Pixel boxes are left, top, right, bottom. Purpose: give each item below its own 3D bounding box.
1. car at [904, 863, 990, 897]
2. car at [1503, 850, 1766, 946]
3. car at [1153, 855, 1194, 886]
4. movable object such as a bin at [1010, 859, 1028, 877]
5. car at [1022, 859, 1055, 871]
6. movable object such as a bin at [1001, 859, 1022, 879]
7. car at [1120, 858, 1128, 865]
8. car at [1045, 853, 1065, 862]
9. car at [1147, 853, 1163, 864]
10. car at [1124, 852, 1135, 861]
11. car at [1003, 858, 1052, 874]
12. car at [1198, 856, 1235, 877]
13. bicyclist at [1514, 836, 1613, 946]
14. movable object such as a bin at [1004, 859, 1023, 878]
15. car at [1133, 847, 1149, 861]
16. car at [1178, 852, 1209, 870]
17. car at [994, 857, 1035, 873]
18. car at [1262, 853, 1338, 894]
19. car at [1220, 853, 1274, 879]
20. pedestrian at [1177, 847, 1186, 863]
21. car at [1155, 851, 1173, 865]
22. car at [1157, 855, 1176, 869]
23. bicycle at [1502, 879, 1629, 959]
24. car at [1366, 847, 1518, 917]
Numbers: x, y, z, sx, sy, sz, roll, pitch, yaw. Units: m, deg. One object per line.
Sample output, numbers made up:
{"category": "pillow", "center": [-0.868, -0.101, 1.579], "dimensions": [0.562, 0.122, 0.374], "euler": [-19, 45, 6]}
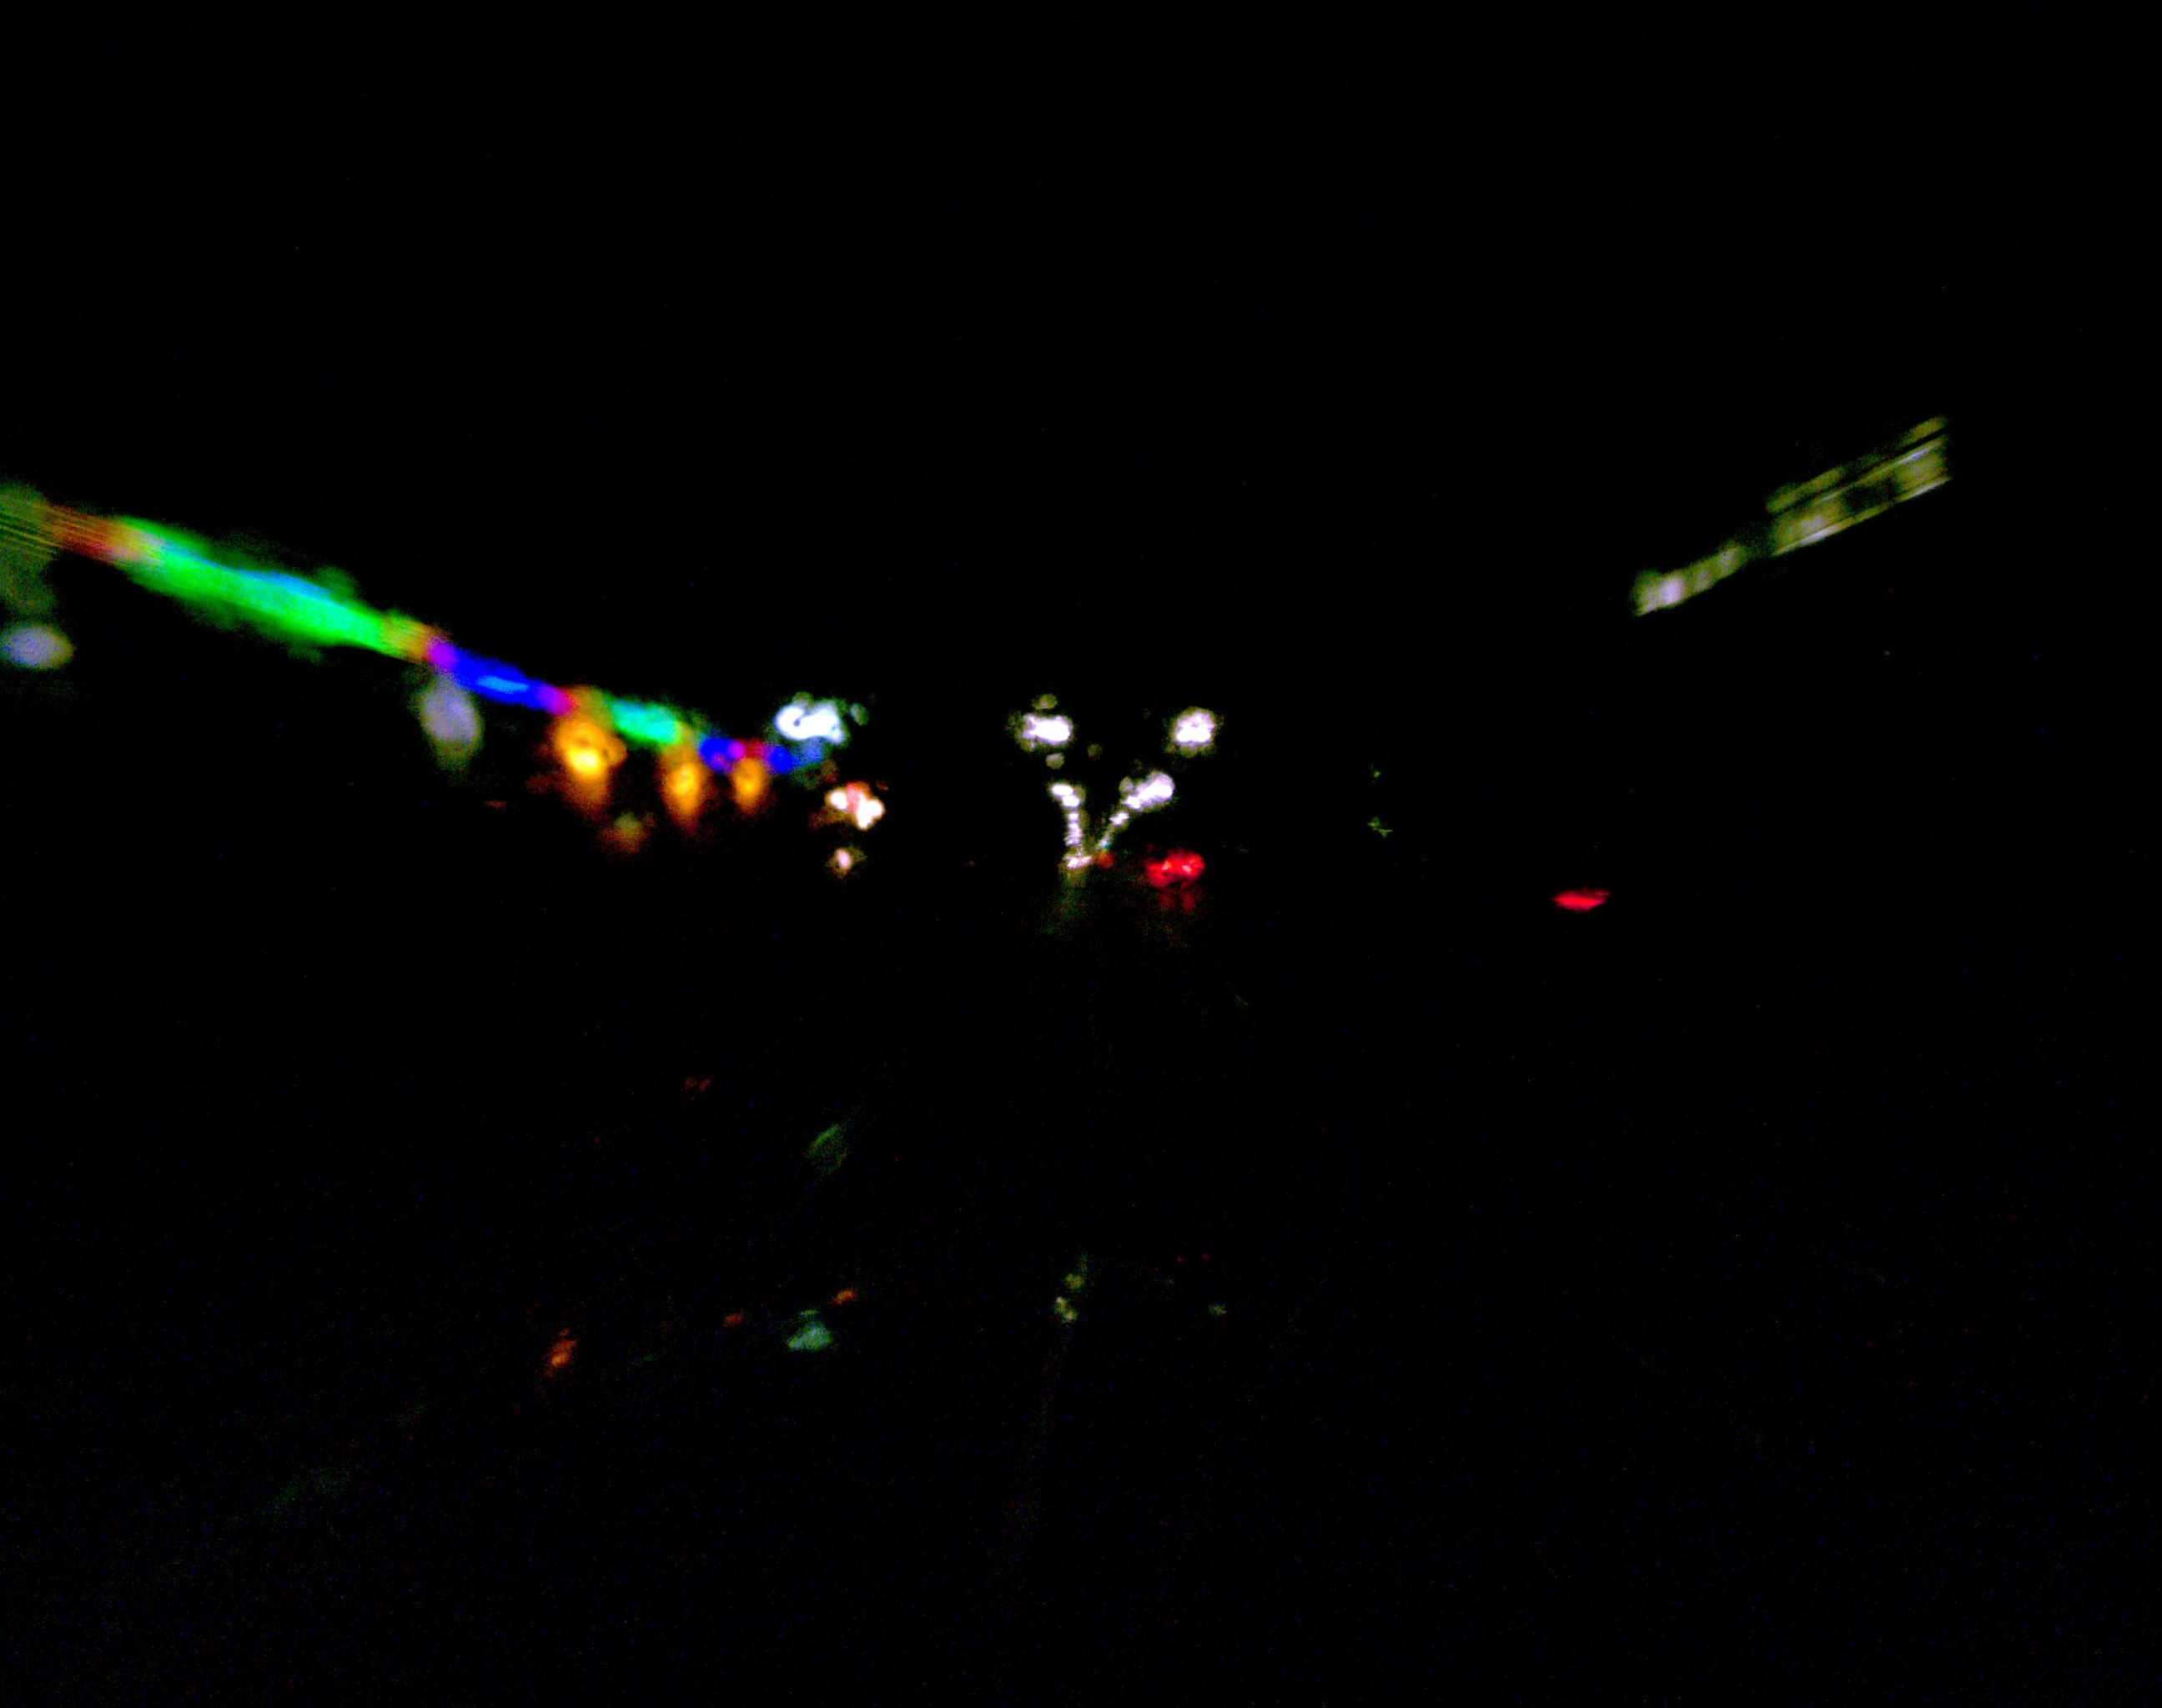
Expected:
{"category": "car", "center": [-7.128, 1.345, 40.458], "dimensions": [4.110, 1.528, 1.956], "euler": [-3, 1, -25]}
{"category": "car", "center": [9.540, 0.682, 13.543], "dimensions": [1.695, 1.413, 3.913], "euler": [-2, 0, -2]}
{"category": "car", "center": [5.015, 0.864, 41.802], "dimensions": [1.780, 1.509, 4.051], "euler": [-3, 0, 1]}
{"category": "movable object such as a bin", "center": [-4.812, 1.093, 59.099], "dimensions": [1.326, 1.400, 1.159], "euler": [-1, 1, -5]}
{"category": "car", "center": [-5.867, 1.513, 105.147], "dimensions": [4.349, 1.459, 1.677], "euler": [-2, 0, -38]}
{"category": "movable object such as a bin", "center": [-5.195, 1.114, 56.780], "dimensions": [1.371, 1.414, 1.073], "euler": [-1, 1, 6]}
{"category": "car", "center": [10.275, 1.727, 182.672], "dimensions": [1.693, 1.565, 3.918], "euler": [-3, 1, 1]}
{"category": "car", "center": [-5.599, 0.775, 163.237], "dimensions": [3.964, 1.760, 1.666], "euler": [-3, 1, -37]}
{"category": "car", "center": [10.382, 0.620, 106.759], "dimensions": [1.723, 1.447, 3.950], "euler": [-3, 1, 0]}
{"category": "car", "center": [10.238, 0.519, 161.255], "dimensions": [1.846, 1.572, 3.663], "euler": [-5, 1, 0]}
{"category": "car", "center": [-5.502, 1.188, 77.822], "dimensions": [4.604, 1.467, 1.837], "euler": [-1, 0, -19]}
{"category": "car", "center": [10.164, 0.905, 57.237], "dimensions": [1.845, 1.415, 4.208], "euler": [-2, 0, -2]}
{"category": "bicyclist", "center": [7.505, 0.546, 11.889], "dimensions": [0.784, 1.646, 1.206], "euler": [0, 1, 1]}
{"category": "movable object such as a bin", "center": [-5.144, 1.096, 57.906], "dimensions": [1.210, 1.414, 1.101], "euler": [-1, 1, 6]}
{"category": "car", "center": [11.007, -0.035, 140.443], "dimensions": [2.248, 2.494, 5.259], "euler": [-5, 1, -2]}
{"category": "car", "center": [9.784, 0.584, 66.317], "dimensions": [1.778, 1.432, 4.606], "euler": [-2, 0, -3]}
{"category": "car", "center": [-6.505, 1.074, 74.553], "dimensions": [3.708, 1.509, 1.656], "euler": [-1, 0, -18]}
{"category": "car", "center": [9.801, 0.802, 34.305], "dimensions": [1.885, 1.536, 4.398], "euler": [-6, 1, -2]}
{"category": "car", "center": [10.153, 0.688, 46.850], "dimensions": [1.893, 1.454, 4.958], "euler": [-2, 0, -4]}
{"category": "pedestrian", "center": [12.529, 0.129, 94.745], "dimensions": [0.794, 1.890, 1.290], "euler": [-3, 1, 1]}
{"category": "car", "center": [10.711, 0.540, 98.056], "dimensions": [1.814, 1.569, 4.353], "euler": [-5, 0, 1]}
{"category": "car", "center": [9.813, 0.855, 87.307], "dimensions": [1.735, 1.430, 4.625], "euler": [-3, 1, 1]}
{"category": "bicycle", "center": [7.507, 0.972, 11.900], "dimensions": [0.784, 1.076, 1.918], "euler": [0, 1, 1]}
{"category": "car", "center": [9.664, 0.670, 20.816], "dimensions": [1.988, 1.622, 4.516], "euler": [-3, 1, 0]}
